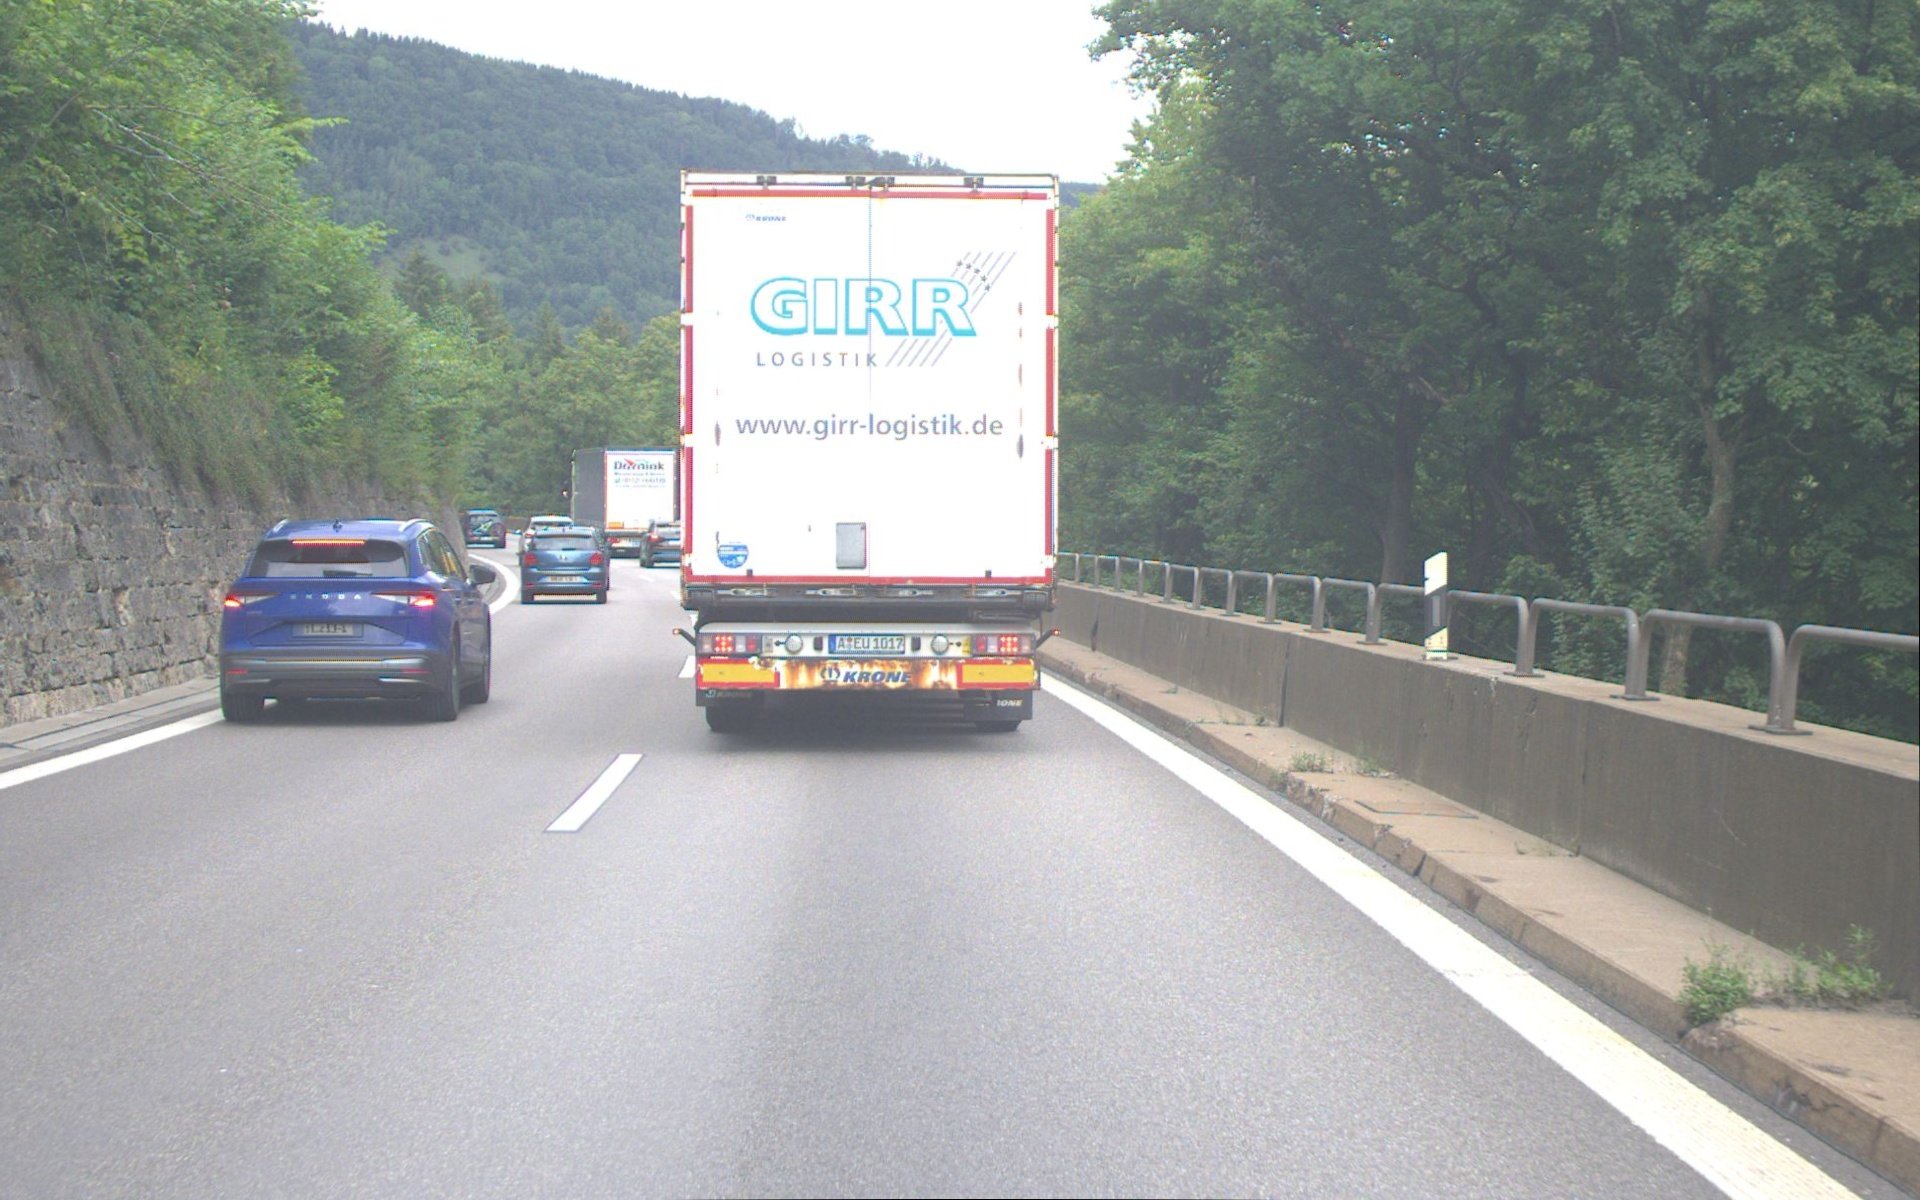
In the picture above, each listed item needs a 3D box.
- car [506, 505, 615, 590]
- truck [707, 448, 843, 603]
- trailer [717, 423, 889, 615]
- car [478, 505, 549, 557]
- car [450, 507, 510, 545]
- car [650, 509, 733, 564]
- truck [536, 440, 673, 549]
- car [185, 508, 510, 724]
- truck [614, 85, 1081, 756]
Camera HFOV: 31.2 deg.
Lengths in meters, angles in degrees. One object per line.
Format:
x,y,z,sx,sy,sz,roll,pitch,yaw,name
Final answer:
-7.881,-1.046,67.537,1.993,1.590,4.355,1,1,-8,car
-3.612,-1.439,66.327,2.208,2.841,5.005,1,1,-7,truck
-2.912,-1.424,60.663,2.211,3.037,11.142,1,1,-7,trailer
-13.957,-2.161,107.250,1.896,1.545,4.251,1,2,-11,car
-20.367,-3.146,145.746,1.896,1.545,4.251,1,2,-17,car
-8.330,-1.986,106.456,2.060,1.648,4.001,0,2,-12,car
-13.344,-3.894,127.985,2.633,3.844,12.363,-1,2,-17,truck
-4.979,0.093,28.637,1.993,1.626,5.009,0,1,-2,car
-0.915,-1.397,30.428,3.084,4.448,15.157,0,2,-1,truck
